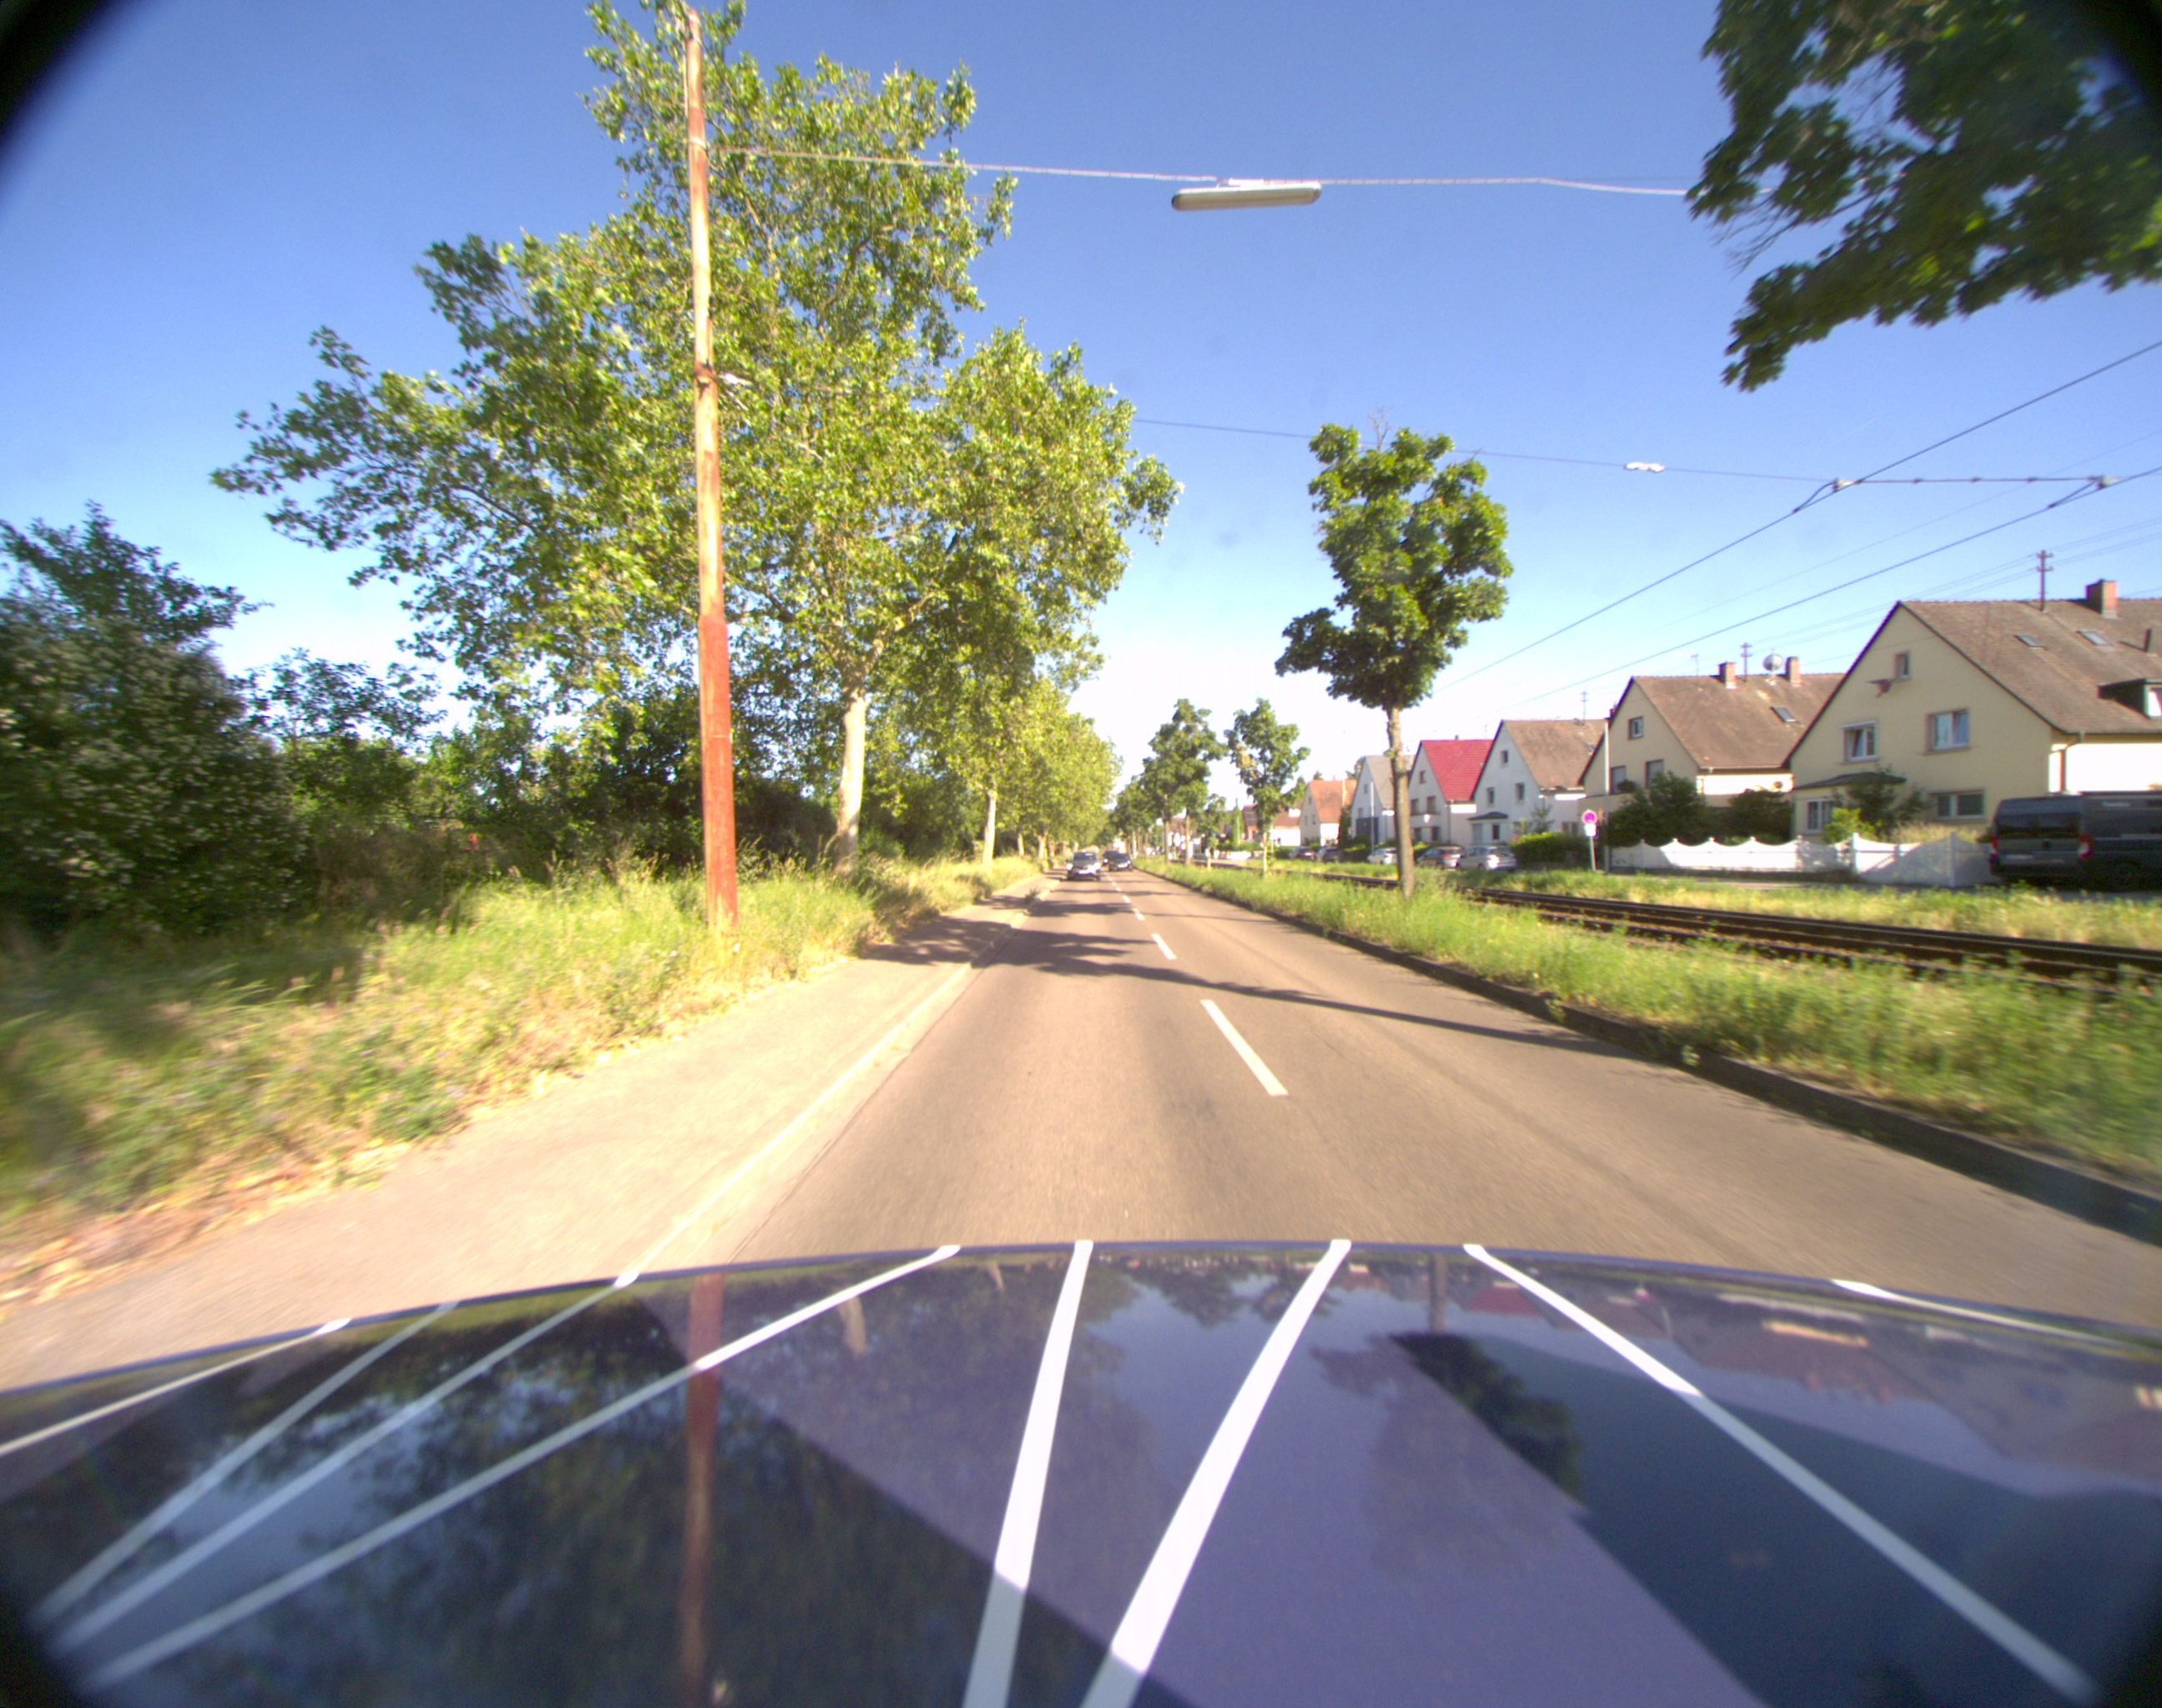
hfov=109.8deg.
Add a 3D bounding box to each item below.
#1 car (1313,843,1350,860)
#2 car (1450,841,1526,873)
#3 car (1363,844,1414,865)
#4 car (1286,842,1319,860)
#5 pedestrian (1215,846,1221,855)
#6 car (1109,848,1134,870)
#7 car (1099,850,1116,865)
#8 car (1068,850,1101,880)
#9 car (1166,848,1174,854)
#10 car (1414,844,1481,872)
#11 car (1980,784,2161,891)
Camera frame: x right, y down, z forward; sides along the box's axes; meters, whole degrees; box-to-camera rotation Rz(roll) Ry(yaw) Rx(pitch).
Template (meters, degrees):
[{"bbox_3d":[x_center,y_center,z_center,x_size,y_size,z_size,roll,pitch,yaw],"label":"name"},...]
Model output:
[{"bbox_3d":[22.569,-0.245,68.517,1.931,1.486,4.255,-2,1,1],"label":"car"},{"bbox_3d":[21.794,0.125,40.866,1.951,1.544,4.056,-2,1,1],"label":"car"},{"bbox_3d":[22.092,0.006,54.751,1.998,1.418,4.410,-2,1,2],"label":"car"},{"bbox_3d":[22.486,-0.374,77.248,1.998,1.703,4.390,-2,1,1],"label":"car"},{"bbox_3d":[22.355,-0.568,124.311,0.813,1.525,0.794,-1,-1,4],"label":"pedestrian"},{"bbox_3d":[3.085,0.348,57.997,1.692,1.499,3.582,-2,1,1],"label":"car"},{"bbox_3d":[2.859,0.379,81.505,1.692,1.499,3.582,-2,1,1],"label":"car"},{"bbox_3d":[0.212,0.579,41.689,1.692,1.499,3.582,-1,1,1],"label":"car"},{"bbox_3d":[24.127,-0.858,205.962,1.738,1.481,3.755,-2,1,1],"label":"car"},{"bbox_3d":[21.963,0.191,45.713,1.998,1.441,4.127,-4,1,1],"label":"car"},{"bbox_3d":[27.237,-0.428,19.807,5.041,2.610,2.102,-1,0,1],"label":"car"}]
